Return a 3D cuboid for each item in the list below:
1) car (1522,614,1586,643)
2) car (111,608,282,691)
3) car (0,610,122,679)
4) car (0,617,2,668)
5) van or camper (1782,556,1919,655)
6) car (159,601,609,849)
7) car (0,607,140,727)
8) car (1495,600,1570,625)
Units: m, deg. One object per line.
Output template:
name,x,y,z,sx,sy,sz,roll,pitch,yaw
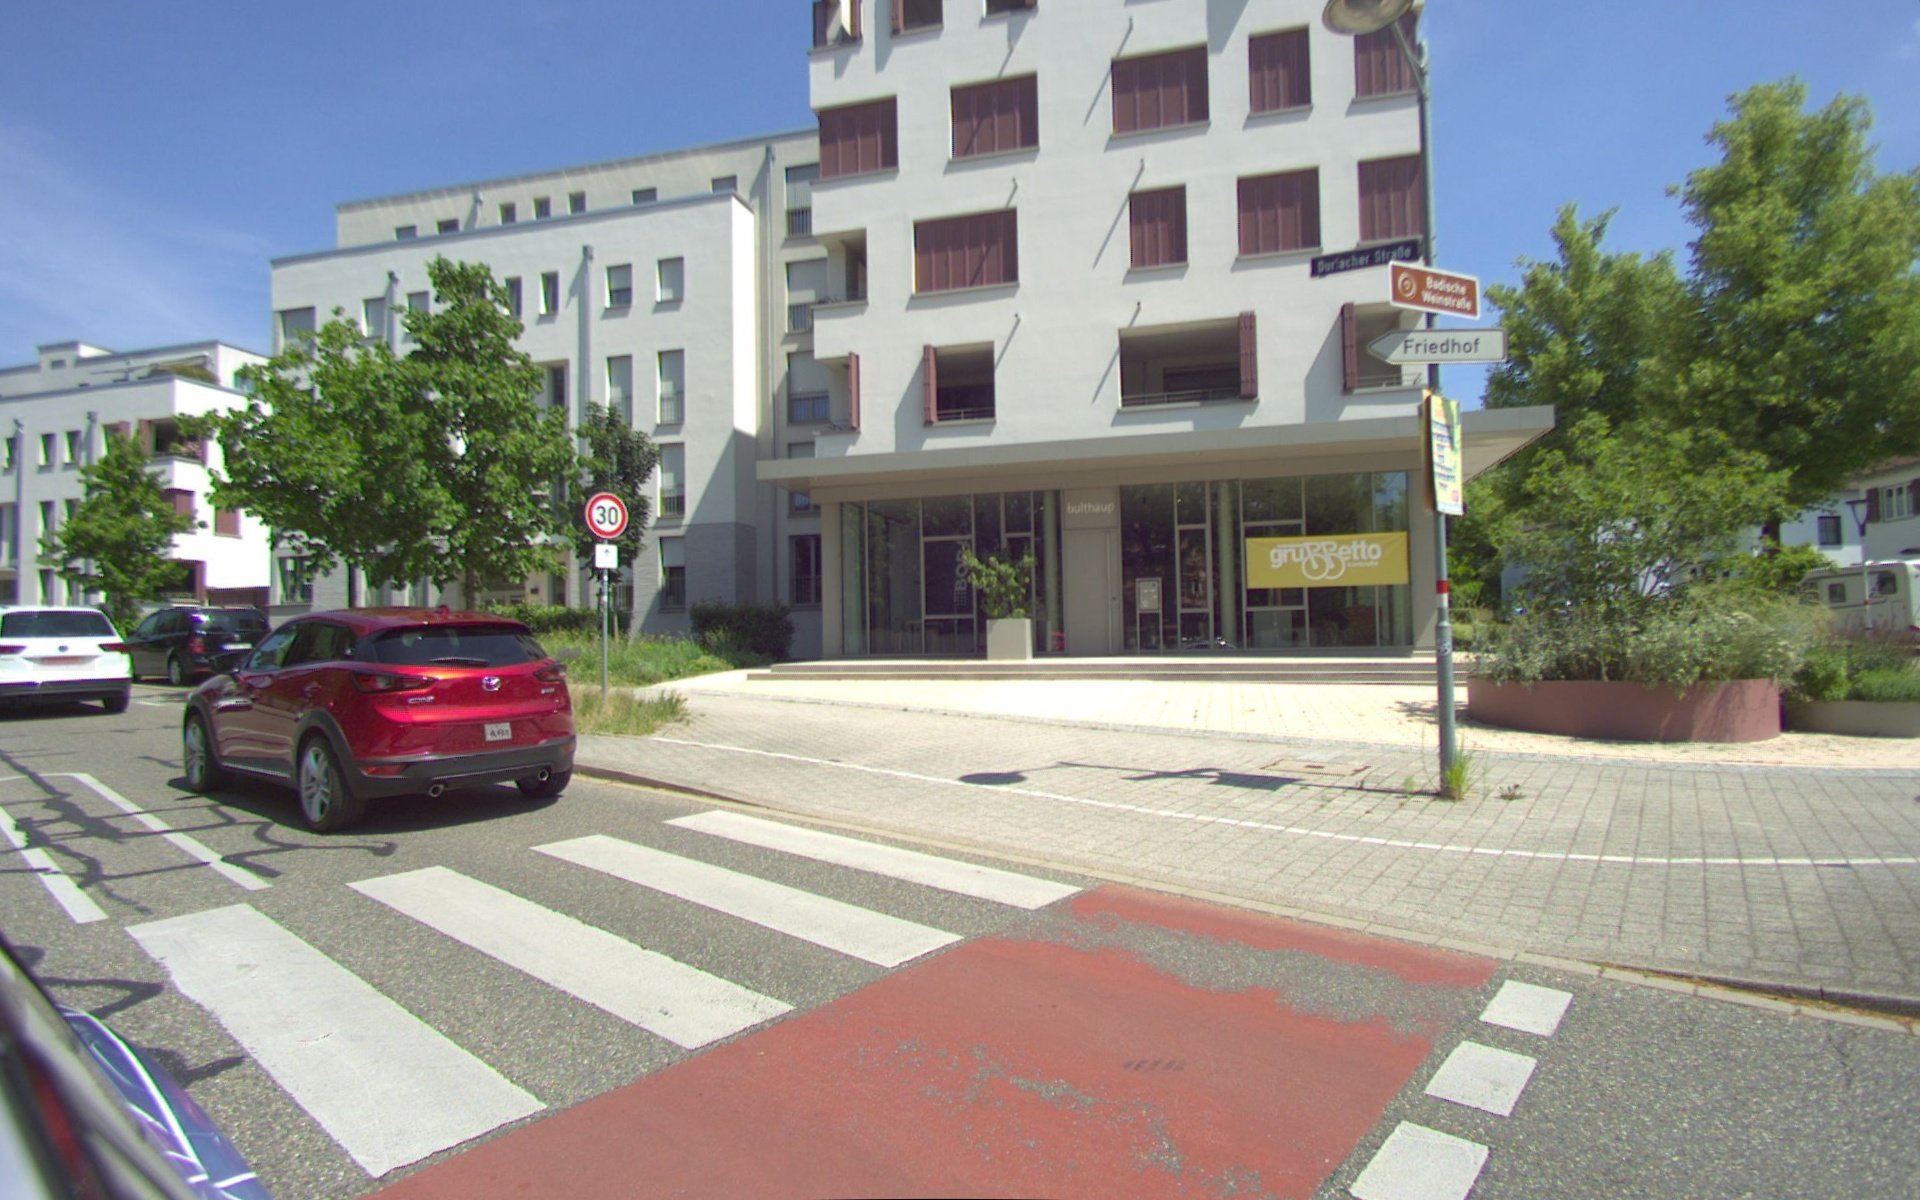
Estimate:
car,31.820,1.509,54.315,1.738,1.516,3.976,-1,-1,12
car,-16.525,1.024,21.866,4.008,1.650,1.681,-1,-1,33
car,-23.823,1.134,26.670,3.616,1.713,1.681,-1,-1,33
car,-32.045,1.345,31.812,3.610,1.602,1.774,-1,-1,28
van or camper,27.481,0.125,29.906,2.251,2.658,5.864,-4,-2,11
car,-4.730,0.819,8.104,3.986,1.516,1.734,-2,-2,38
car,-14.239,0.939,15.429,4.113,1.621,1.794,-1,-1,37
car,39.381,0.859,69.717,4.069,1.621,1.813,0,-1,6
